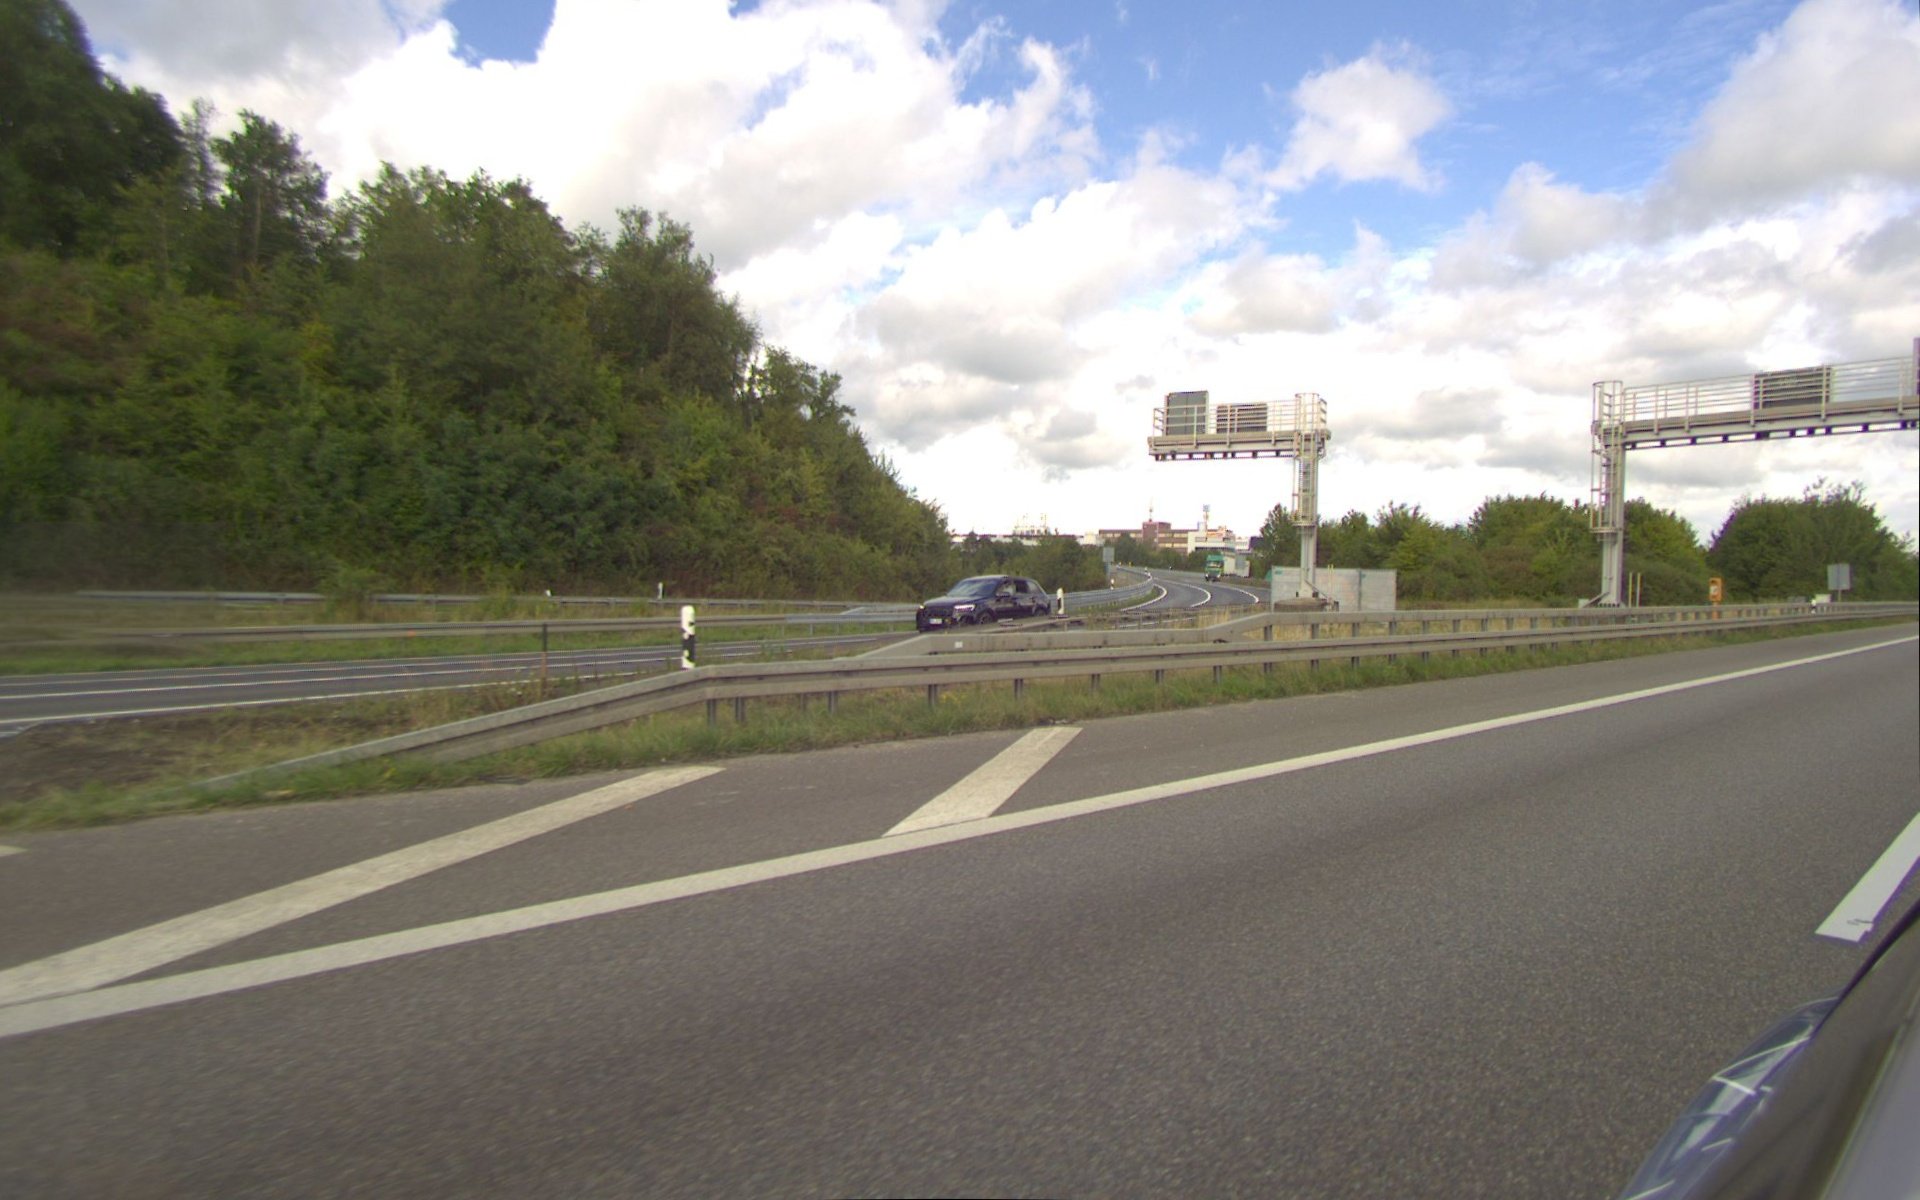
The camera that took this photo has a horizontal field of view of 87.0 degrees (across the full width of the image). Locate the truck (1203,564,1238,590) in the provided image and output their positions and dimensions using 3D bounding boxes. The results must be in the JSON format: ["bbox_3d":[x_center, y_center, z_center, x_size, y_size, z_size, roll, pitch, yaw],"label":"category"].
[{"bbox_3d":[40.573,-3.536,157.199,2.938,3.845,13.348,1,1,25],"label":"truck"}]

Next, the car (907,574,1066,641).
[{"bbox_3d":[0.816,0.148,27.784,1.868,1.656,4.791,1,1,39],"label":"car"}]

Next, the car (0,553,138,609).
[{"bbox_3d":[-24.669,-0.520,26.985,1.712,1.433,4.103,2,2,44],"label":"car"}]
